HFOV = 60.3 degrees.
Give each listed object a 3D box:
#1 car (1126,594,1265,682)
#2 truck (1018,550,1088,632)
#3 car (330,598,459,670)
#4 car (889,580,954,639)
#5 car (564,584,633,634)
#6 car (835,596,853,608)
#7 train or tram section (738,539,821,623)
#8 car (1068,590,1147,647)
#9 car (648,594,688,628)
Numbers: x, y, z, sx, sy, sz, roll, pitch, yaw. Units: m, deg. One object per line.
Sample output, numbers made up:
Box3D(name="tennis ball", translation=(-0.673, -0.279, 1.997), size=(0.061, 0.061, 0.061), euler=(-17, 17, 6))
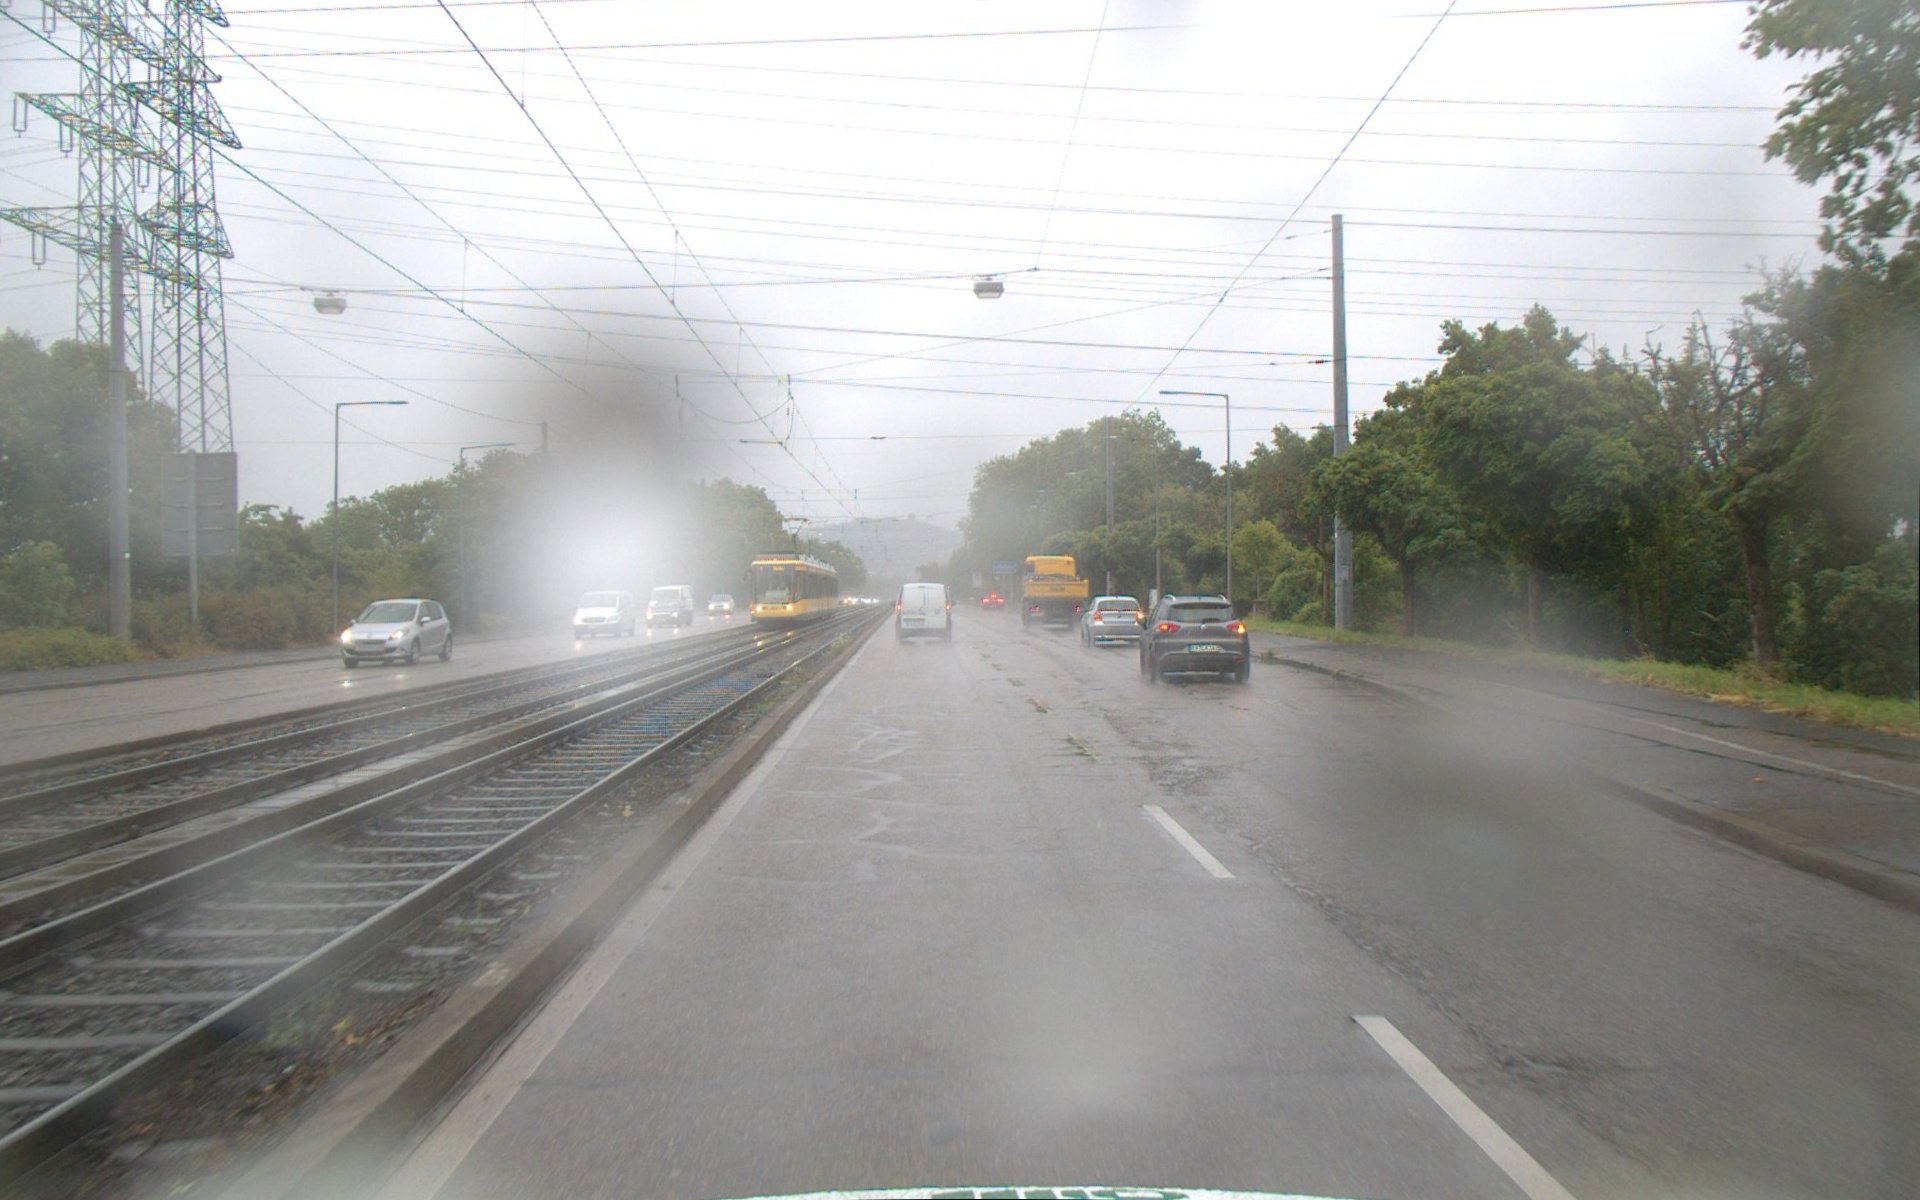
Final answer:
Box3D(name="car", translation=(4.138, 0.627, 29.707), size=(1.849, 1.380, 4.277), euler=(0, 1, -1))
Box3D(name="truck", translation=(3.868, -0.425, 70.314), size=(2.503, 3.314, 6.932), euler=(0, 1, -1))
Box3D(name="car", translation=(-14.412, 0.817, 42.408), size=(1.849, 1.671, 4.347), euler=(0, 1, 0))
Box3D(name="car", translation=(-1.161, 0.263, 51.251), size=(1.949, 1.713, 3.739), euler=(0, 1, -1))
Box3D(name="car", translation=(-14.912, 0.341, 68.371), size=(1.849, 1.917, 4.621), euler=(0, 1, 0))
Box3D(name="car", translation=(-15.840, 0.242, 225.966), size=(1.952, 1.489, 5.252), euler=(-3, 1, 1))
Box3D(name="train or tram section", translation=(-8.882, -0.995, 83.437), size=(2.807, 3.770, 17.884), euler=(0, 1, -2))
Box3D(name="car", translation=(4.273, 0.499, 48.528), size=(1.594, 1.529, 4.603), euler=(0, 1, -4))
Box3D(name="car", translation=(-15.761, 0.560, 89.420), size=(1.633, 1.753, 3.731), euler=(0, 1, -2))
